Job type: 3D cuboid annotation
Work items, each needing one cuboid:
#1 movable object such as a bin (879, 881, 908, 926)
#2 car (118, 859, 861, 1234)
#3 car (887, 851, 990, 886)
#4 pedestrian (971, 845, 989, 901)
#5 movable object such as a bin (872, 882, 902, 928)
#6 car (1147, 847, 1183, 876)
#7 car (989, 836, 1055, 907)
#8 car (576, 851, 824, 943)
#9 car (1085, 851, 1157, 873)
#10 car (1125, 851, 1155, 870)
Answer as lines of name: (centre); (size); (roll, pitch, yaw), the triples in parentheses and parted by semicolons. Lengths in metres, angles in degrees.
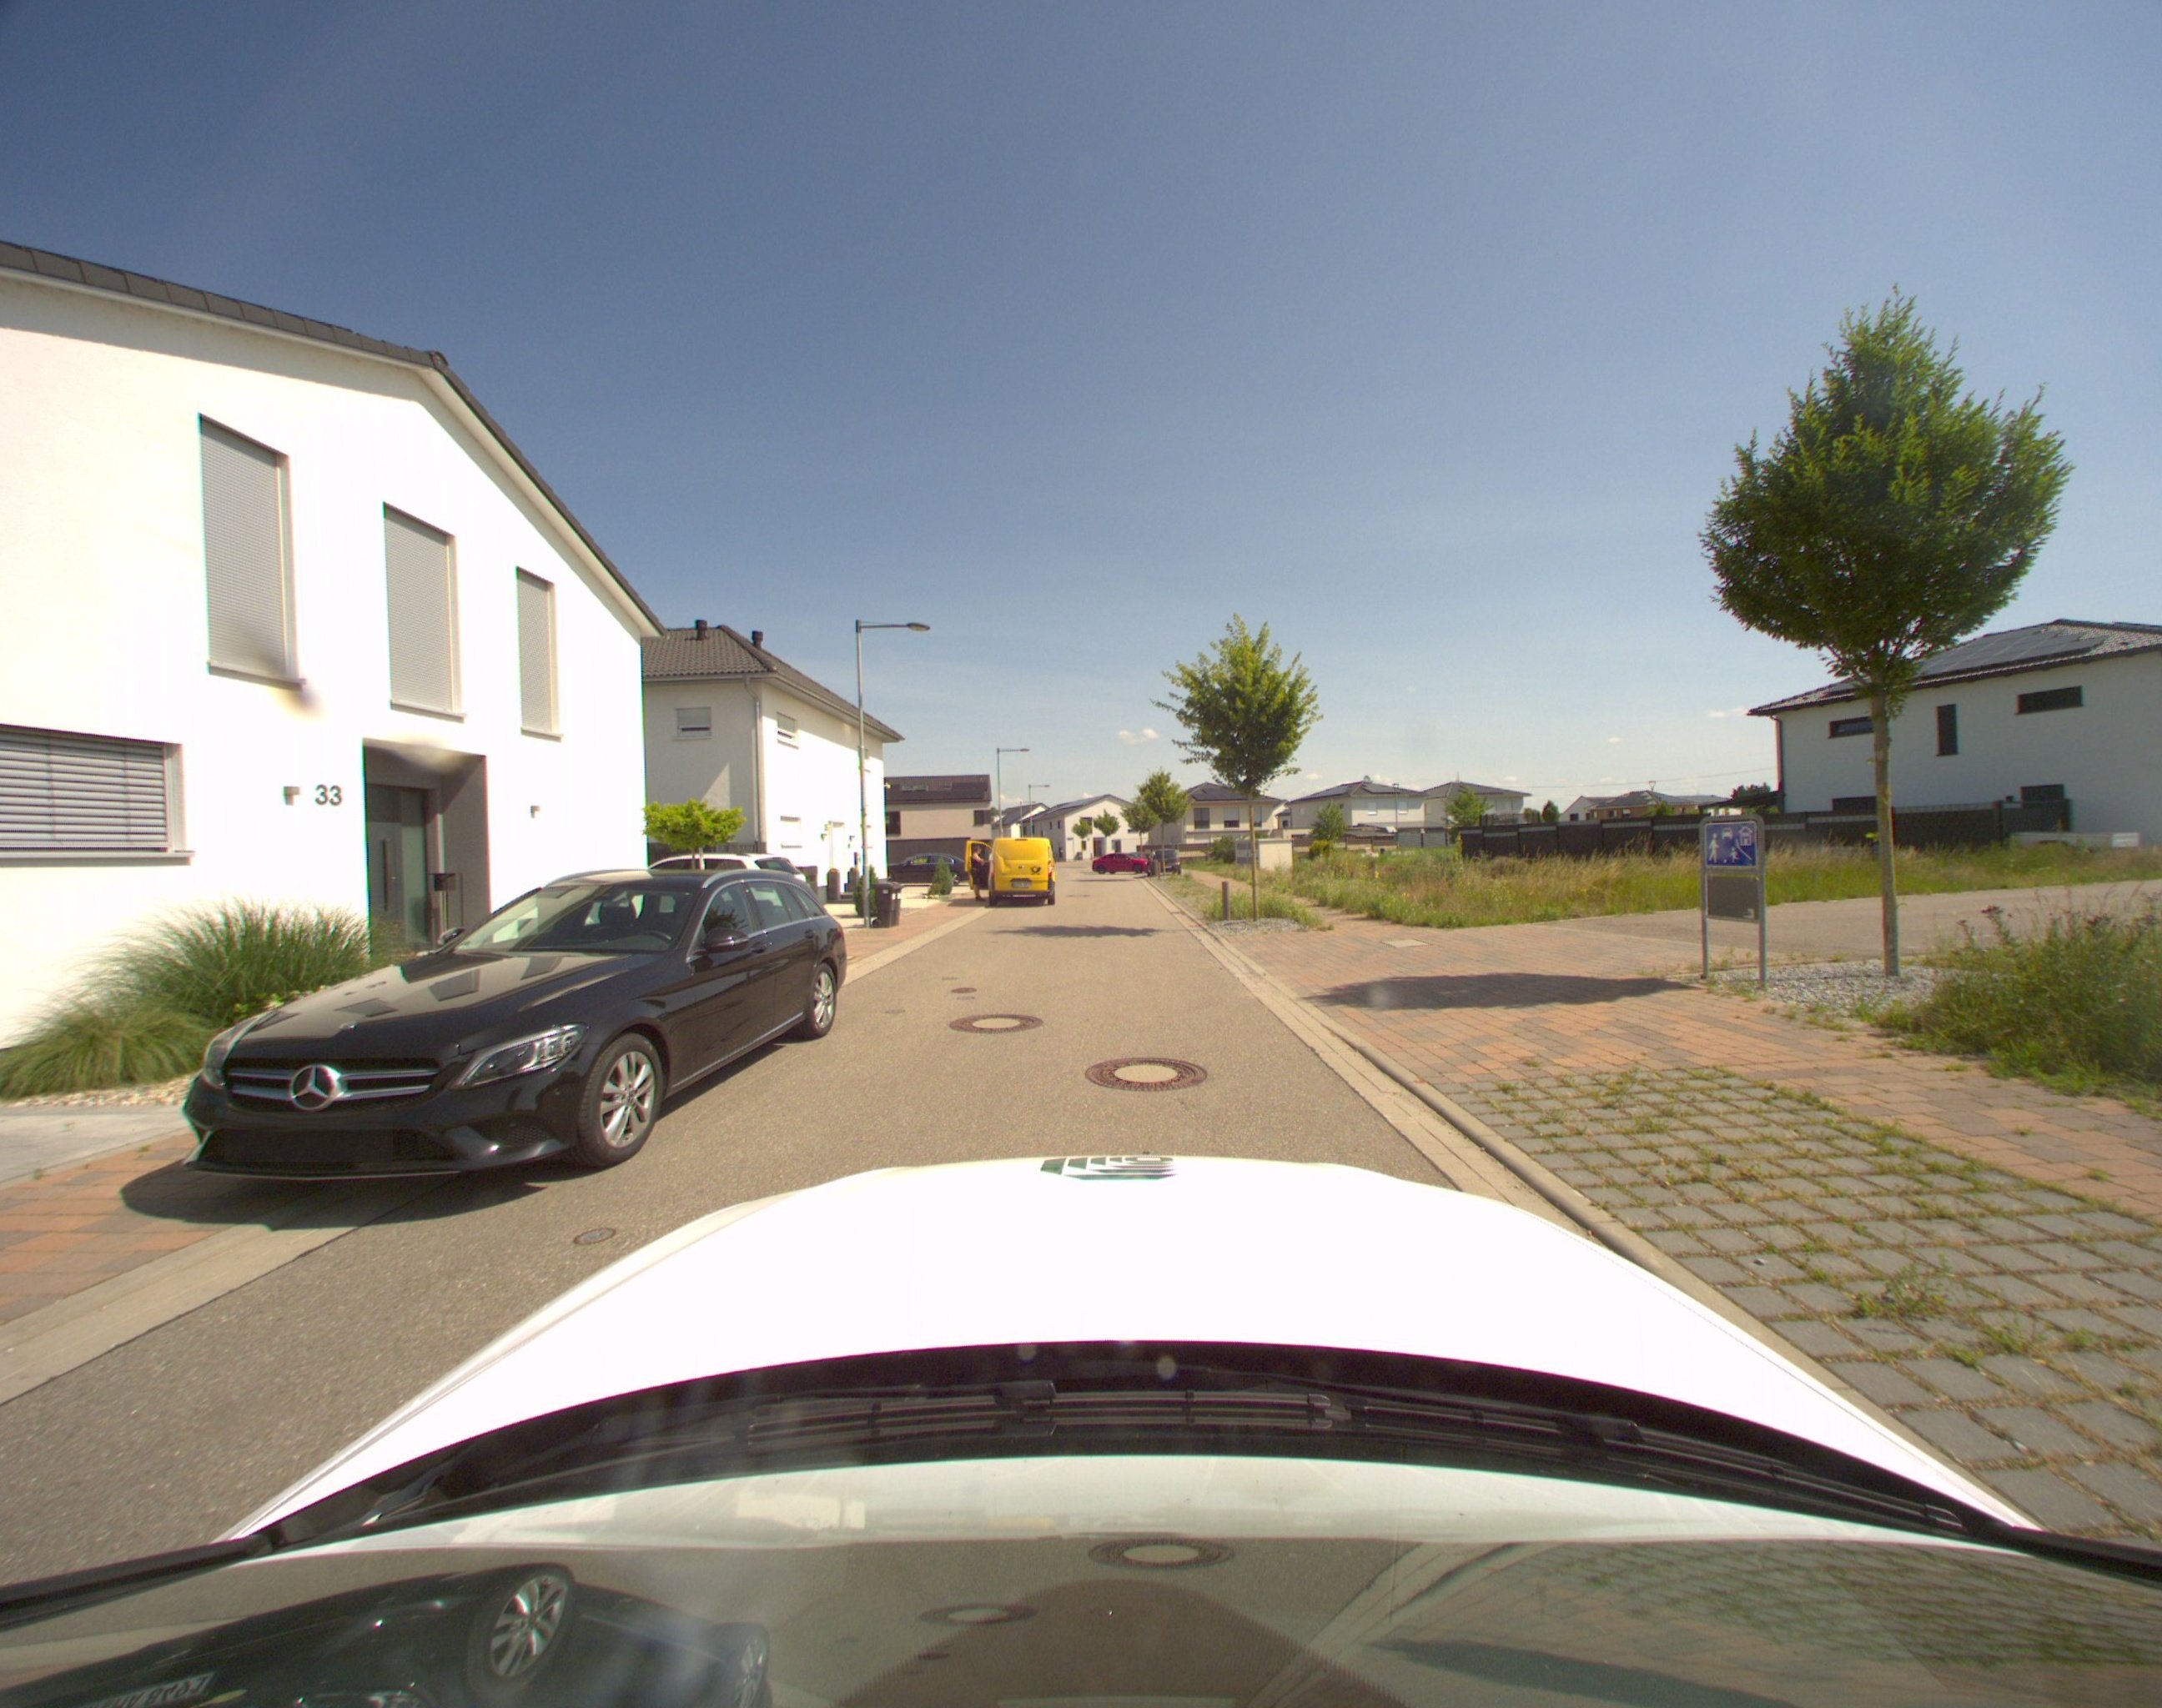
movable object such as a bin: (-4.103, 1.077, 17.870); (0.484, 0.925, 0.530); (-2, 0, -1)
car: (-3.039, 0.799, 5.568); (1.684, 1.472, 4.447); (1, 0, 2)
car: (-6.315, 0.626, 36.138); (4.396, 1.452, 1.742); (-1, 0, -12)
pedestrian: (-3.200, 0.589, 25.848); (0.530, 1.738, 0.569); (0, 0, -5)
movable object such as a bin: (-4.119, 1.072, 17.314); (0.484, 0.925, 0.530); (-2, 0, -1)
car: (4.634, 0.388, 45.132); (1.593, 1.475, 3.675); (-2, 0, 0)
car: (-1.771, 0.492, 25.615); (1.879, 2.013, 4.836); (0, 0, -3)
car: (-7.271, 0.802, 15.774); (3.934, 1.619, 1.797); (-1, 0, 6)
car: (2.677, 0.533, 54.836); (4.462, 1.438, 1.779); (-1, 0, 30)
car: (4.624, 0.490, 64.187); (1.751, 1.363, 4.569); (-1, 0, -4)
